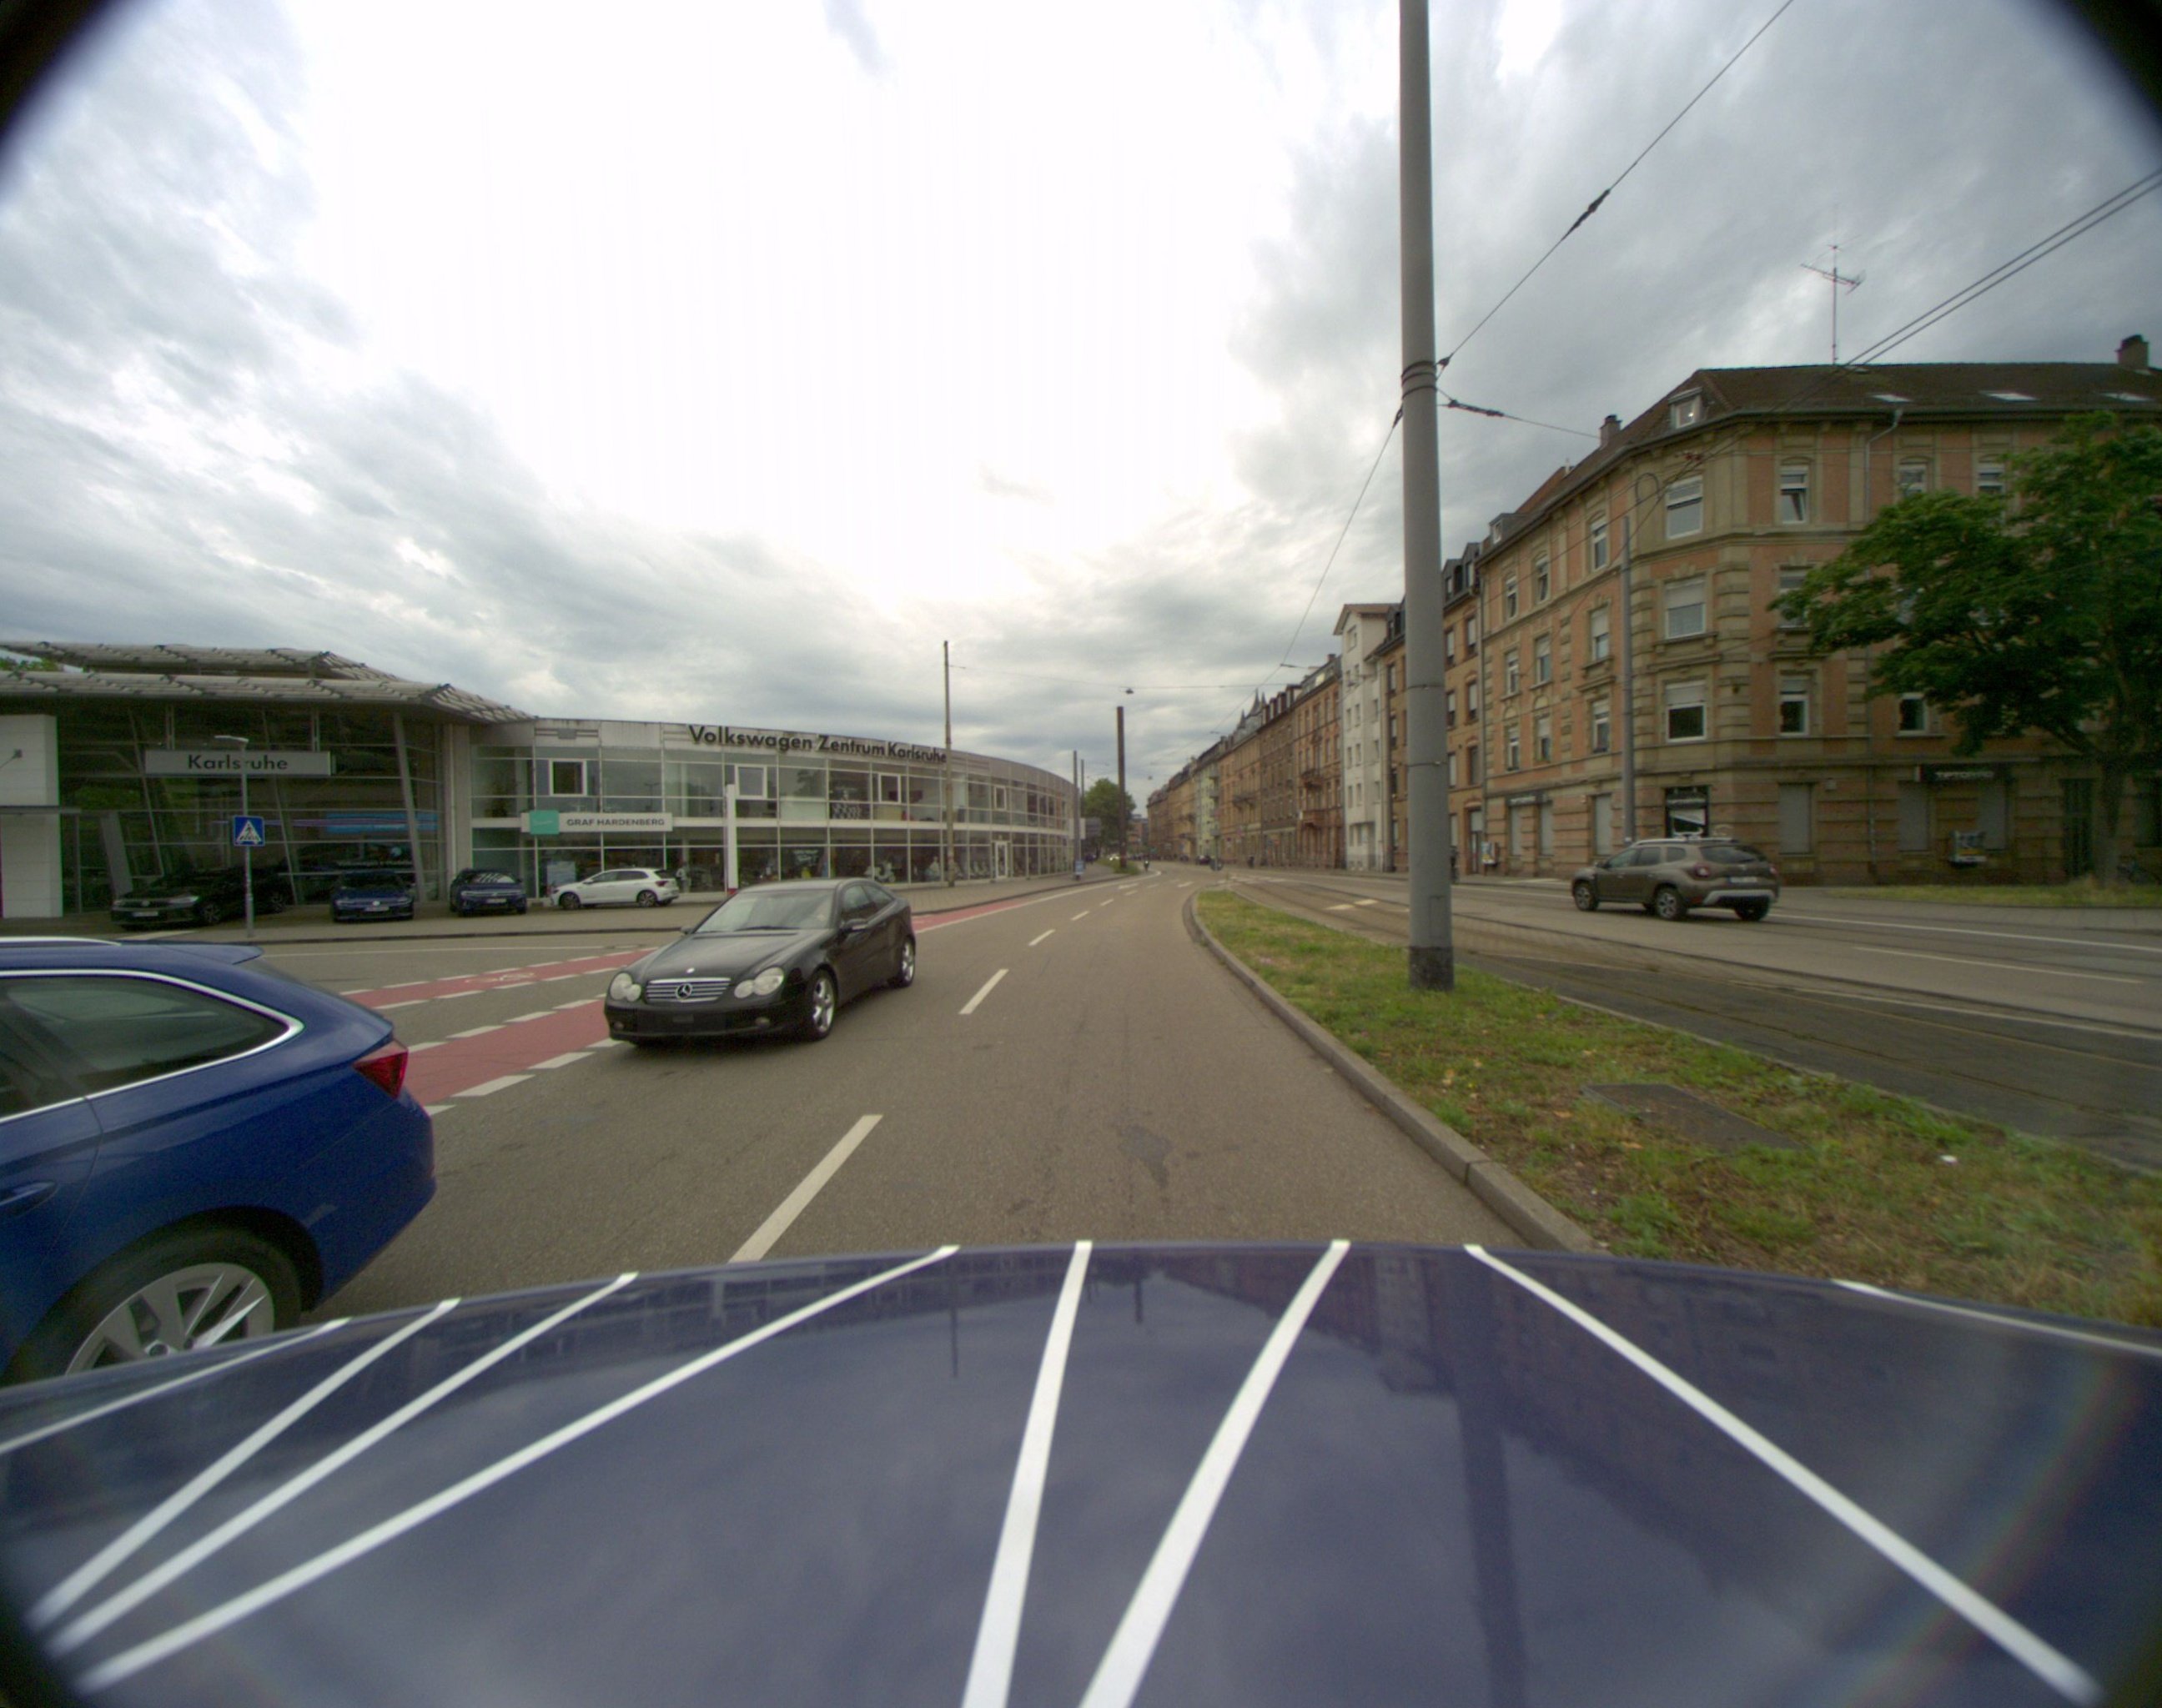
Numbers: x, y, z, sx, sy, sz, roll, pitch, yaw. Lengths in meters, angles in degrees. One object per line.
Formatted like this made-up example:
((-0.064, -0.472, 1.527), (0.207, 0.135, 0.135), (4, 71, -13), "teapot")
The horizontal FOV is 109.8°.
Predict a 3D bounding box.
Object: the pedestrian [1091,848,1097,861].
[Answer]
((1.796, 0.068, 105.427), (0.871, 1.843, 0.706), (-1, 1, 1), "pedestrian")

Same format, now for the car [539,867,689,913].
((-16.993, 1.286, 27.837), (4.263, 1.444, 1.781), (-1, 0, -9), "car")

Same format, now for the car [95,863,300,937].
((-26.479, 1.291, 23.066), (1.862, 1.624, 4.500), (-3, 4, -18), "car")

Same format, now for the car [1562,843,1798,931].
((12.712, 0.618, 16.543), (1.802, 1.630, 4.229), (-1, 0, 0), "car")

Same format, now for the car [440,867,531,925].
((-20.143, 1.344, 25.638), (1.905, 1.554, 4.207), (-2, 3, -45), "car")

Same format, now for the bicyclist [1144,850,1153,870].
((6.000, 0.528, 67.440), (0.730, 1.747, 0.911), (-1, 1, 7), "bicyclist")

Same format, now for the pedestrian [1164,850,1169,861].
((16.966, 0.294, 150.483), (0.814, 2.002, 0.733), (-1, 1, 1), "pedestrian")

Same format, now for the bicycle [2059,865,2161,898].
((30.328, 0.825, 22.234), (0.662, 0.909, 1.989), (0, -3, -10), "bicycle")

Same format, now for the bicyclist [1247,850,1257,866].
((16.226, 0.396, 72.279), (0.663, 1.486, 0.942), (-1, 1, -3), "bicyclist")

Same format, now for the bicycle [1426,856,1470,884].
((16.165, 0.700, 33.526), (0.826, 1.201, 2.234), (0, 0, -1), "bicycle")

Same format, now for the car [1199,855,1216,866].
((17.146, 0.888, 102.959), (1.852, 1.471, 3.828), (-1, 0, 3), "car")

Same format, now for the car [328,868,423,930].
((-22.196, 1.313, 23.841), (4.325, 1.496, 1.862), (3, 3, 43), "car")

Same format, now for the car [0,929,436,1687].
((-3.191, 1.037, 0.416), (1.784, 1.480, 4.465), (-1, 1, 1), "car")

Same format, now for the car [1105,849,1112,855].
((7.620, -0.632, 208.646), (1.802, 1.630, 4.230), (-1, 0, 1), "car")

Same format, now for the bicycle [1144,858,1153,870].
((6.001, 0.902, 67.355), (0.727, 1.003, 2.177), (-1, 0, 7), "bicycle")

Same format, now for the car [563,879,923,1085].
((-3.037, 1.063, 7.887), (1.714, 1.413, 4.070), (-1, 0, 3), "car")

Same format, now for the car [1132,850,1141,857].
((12.687, -0.151, 173.344), (1.802, 1.630, 4.230), (-1, 0, 1), "car")

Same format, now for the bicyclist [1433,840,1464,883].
((16.170, 0.323, 33.427), (0.831, 1.881, 1.049), (0, 0, -1), "bicyclist")

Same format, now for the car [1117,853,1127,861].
((8.279, 0.560, 154.440), (1.802, 1.630, 4.230), (-1, 0, 1), "car")

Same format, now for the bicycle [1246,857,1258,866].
((16.237, 0.707, 72.294), (0.607, 0.910, 1.719), (-1, 0, -4), "bicycle")
